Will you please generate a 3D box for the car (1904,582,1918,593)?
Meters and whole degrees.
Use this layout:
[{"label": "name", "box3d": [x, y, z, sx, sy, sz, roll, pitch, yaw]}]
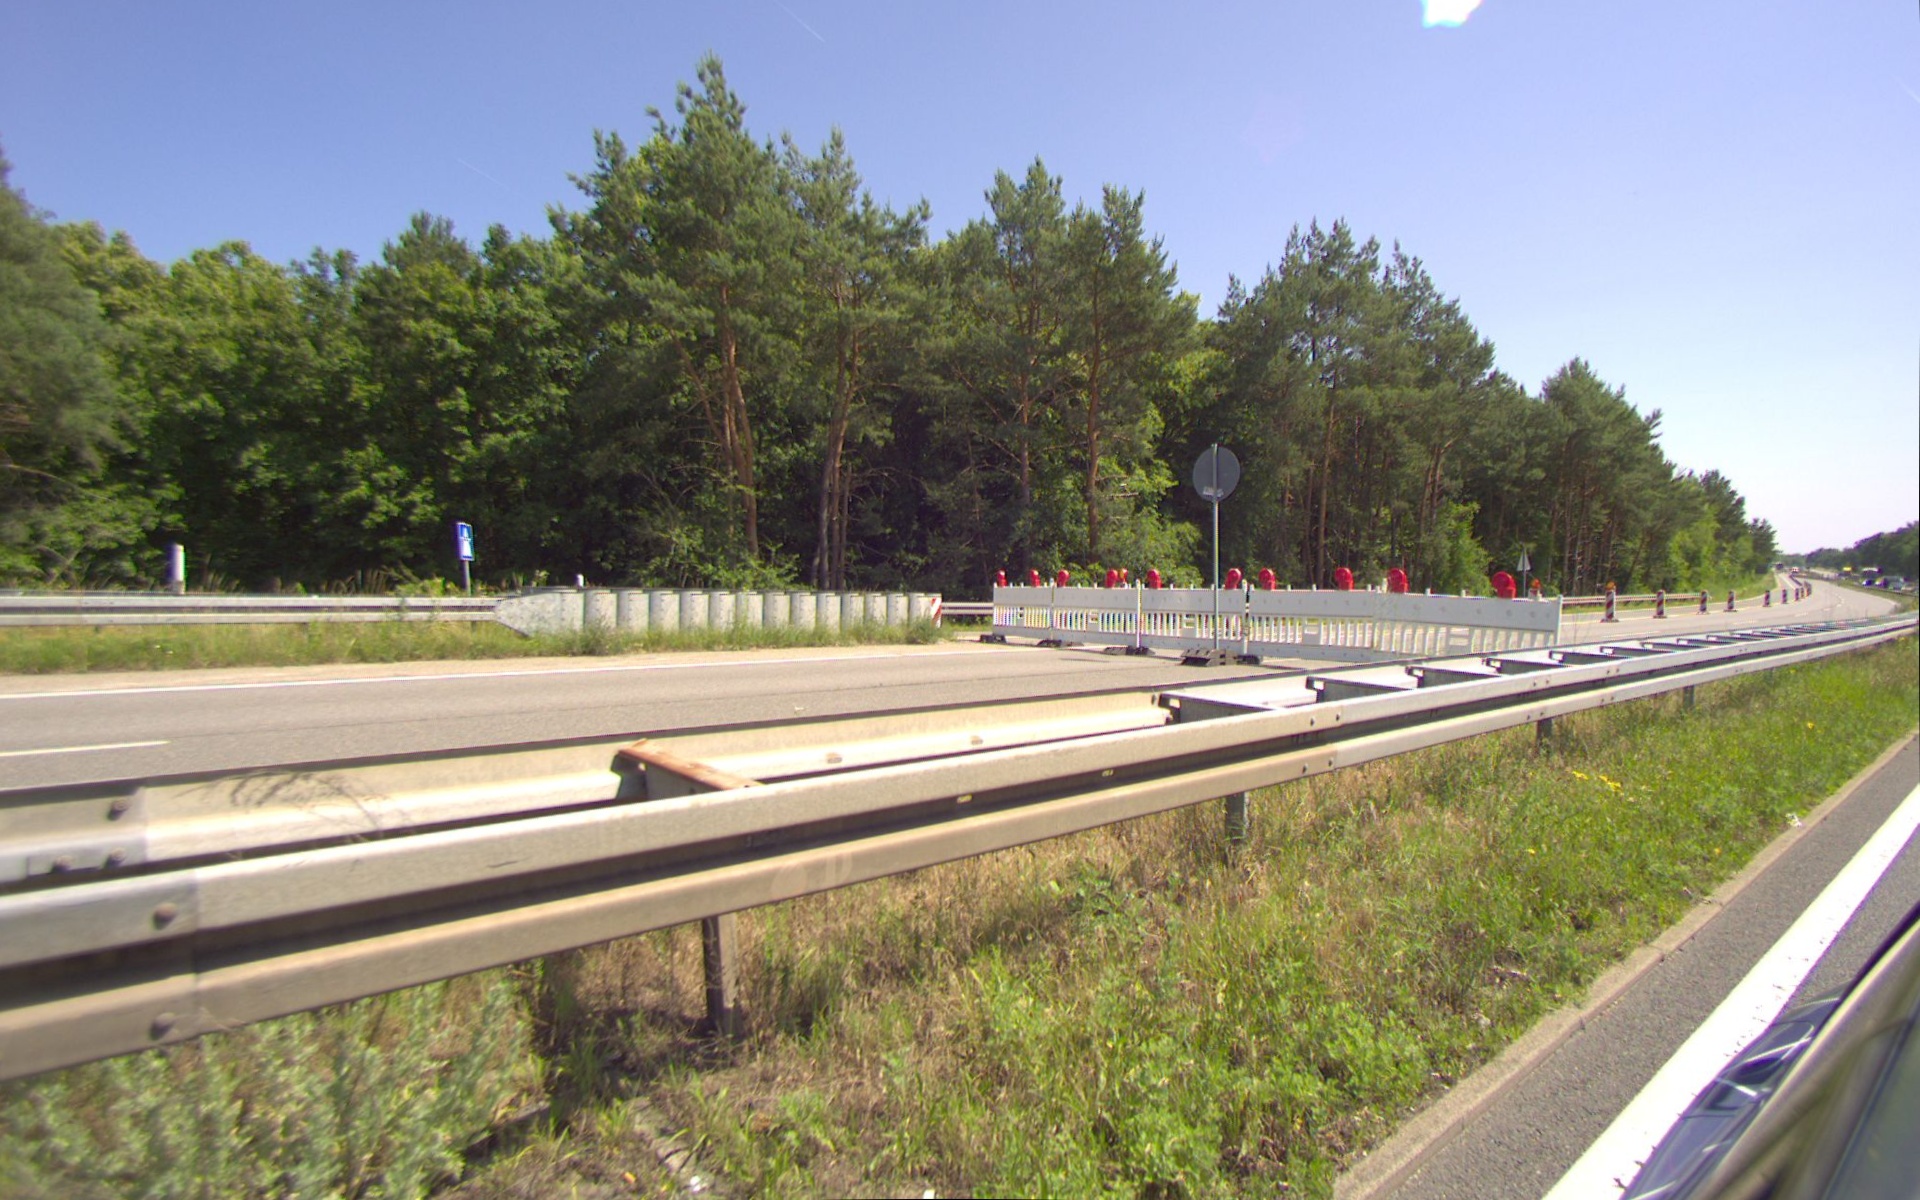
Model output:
[{"label": "car", "box3d": [151.128, -1.996, 160.828, 1.522, 1.677, 3.921, 2, 2, 41]}]
